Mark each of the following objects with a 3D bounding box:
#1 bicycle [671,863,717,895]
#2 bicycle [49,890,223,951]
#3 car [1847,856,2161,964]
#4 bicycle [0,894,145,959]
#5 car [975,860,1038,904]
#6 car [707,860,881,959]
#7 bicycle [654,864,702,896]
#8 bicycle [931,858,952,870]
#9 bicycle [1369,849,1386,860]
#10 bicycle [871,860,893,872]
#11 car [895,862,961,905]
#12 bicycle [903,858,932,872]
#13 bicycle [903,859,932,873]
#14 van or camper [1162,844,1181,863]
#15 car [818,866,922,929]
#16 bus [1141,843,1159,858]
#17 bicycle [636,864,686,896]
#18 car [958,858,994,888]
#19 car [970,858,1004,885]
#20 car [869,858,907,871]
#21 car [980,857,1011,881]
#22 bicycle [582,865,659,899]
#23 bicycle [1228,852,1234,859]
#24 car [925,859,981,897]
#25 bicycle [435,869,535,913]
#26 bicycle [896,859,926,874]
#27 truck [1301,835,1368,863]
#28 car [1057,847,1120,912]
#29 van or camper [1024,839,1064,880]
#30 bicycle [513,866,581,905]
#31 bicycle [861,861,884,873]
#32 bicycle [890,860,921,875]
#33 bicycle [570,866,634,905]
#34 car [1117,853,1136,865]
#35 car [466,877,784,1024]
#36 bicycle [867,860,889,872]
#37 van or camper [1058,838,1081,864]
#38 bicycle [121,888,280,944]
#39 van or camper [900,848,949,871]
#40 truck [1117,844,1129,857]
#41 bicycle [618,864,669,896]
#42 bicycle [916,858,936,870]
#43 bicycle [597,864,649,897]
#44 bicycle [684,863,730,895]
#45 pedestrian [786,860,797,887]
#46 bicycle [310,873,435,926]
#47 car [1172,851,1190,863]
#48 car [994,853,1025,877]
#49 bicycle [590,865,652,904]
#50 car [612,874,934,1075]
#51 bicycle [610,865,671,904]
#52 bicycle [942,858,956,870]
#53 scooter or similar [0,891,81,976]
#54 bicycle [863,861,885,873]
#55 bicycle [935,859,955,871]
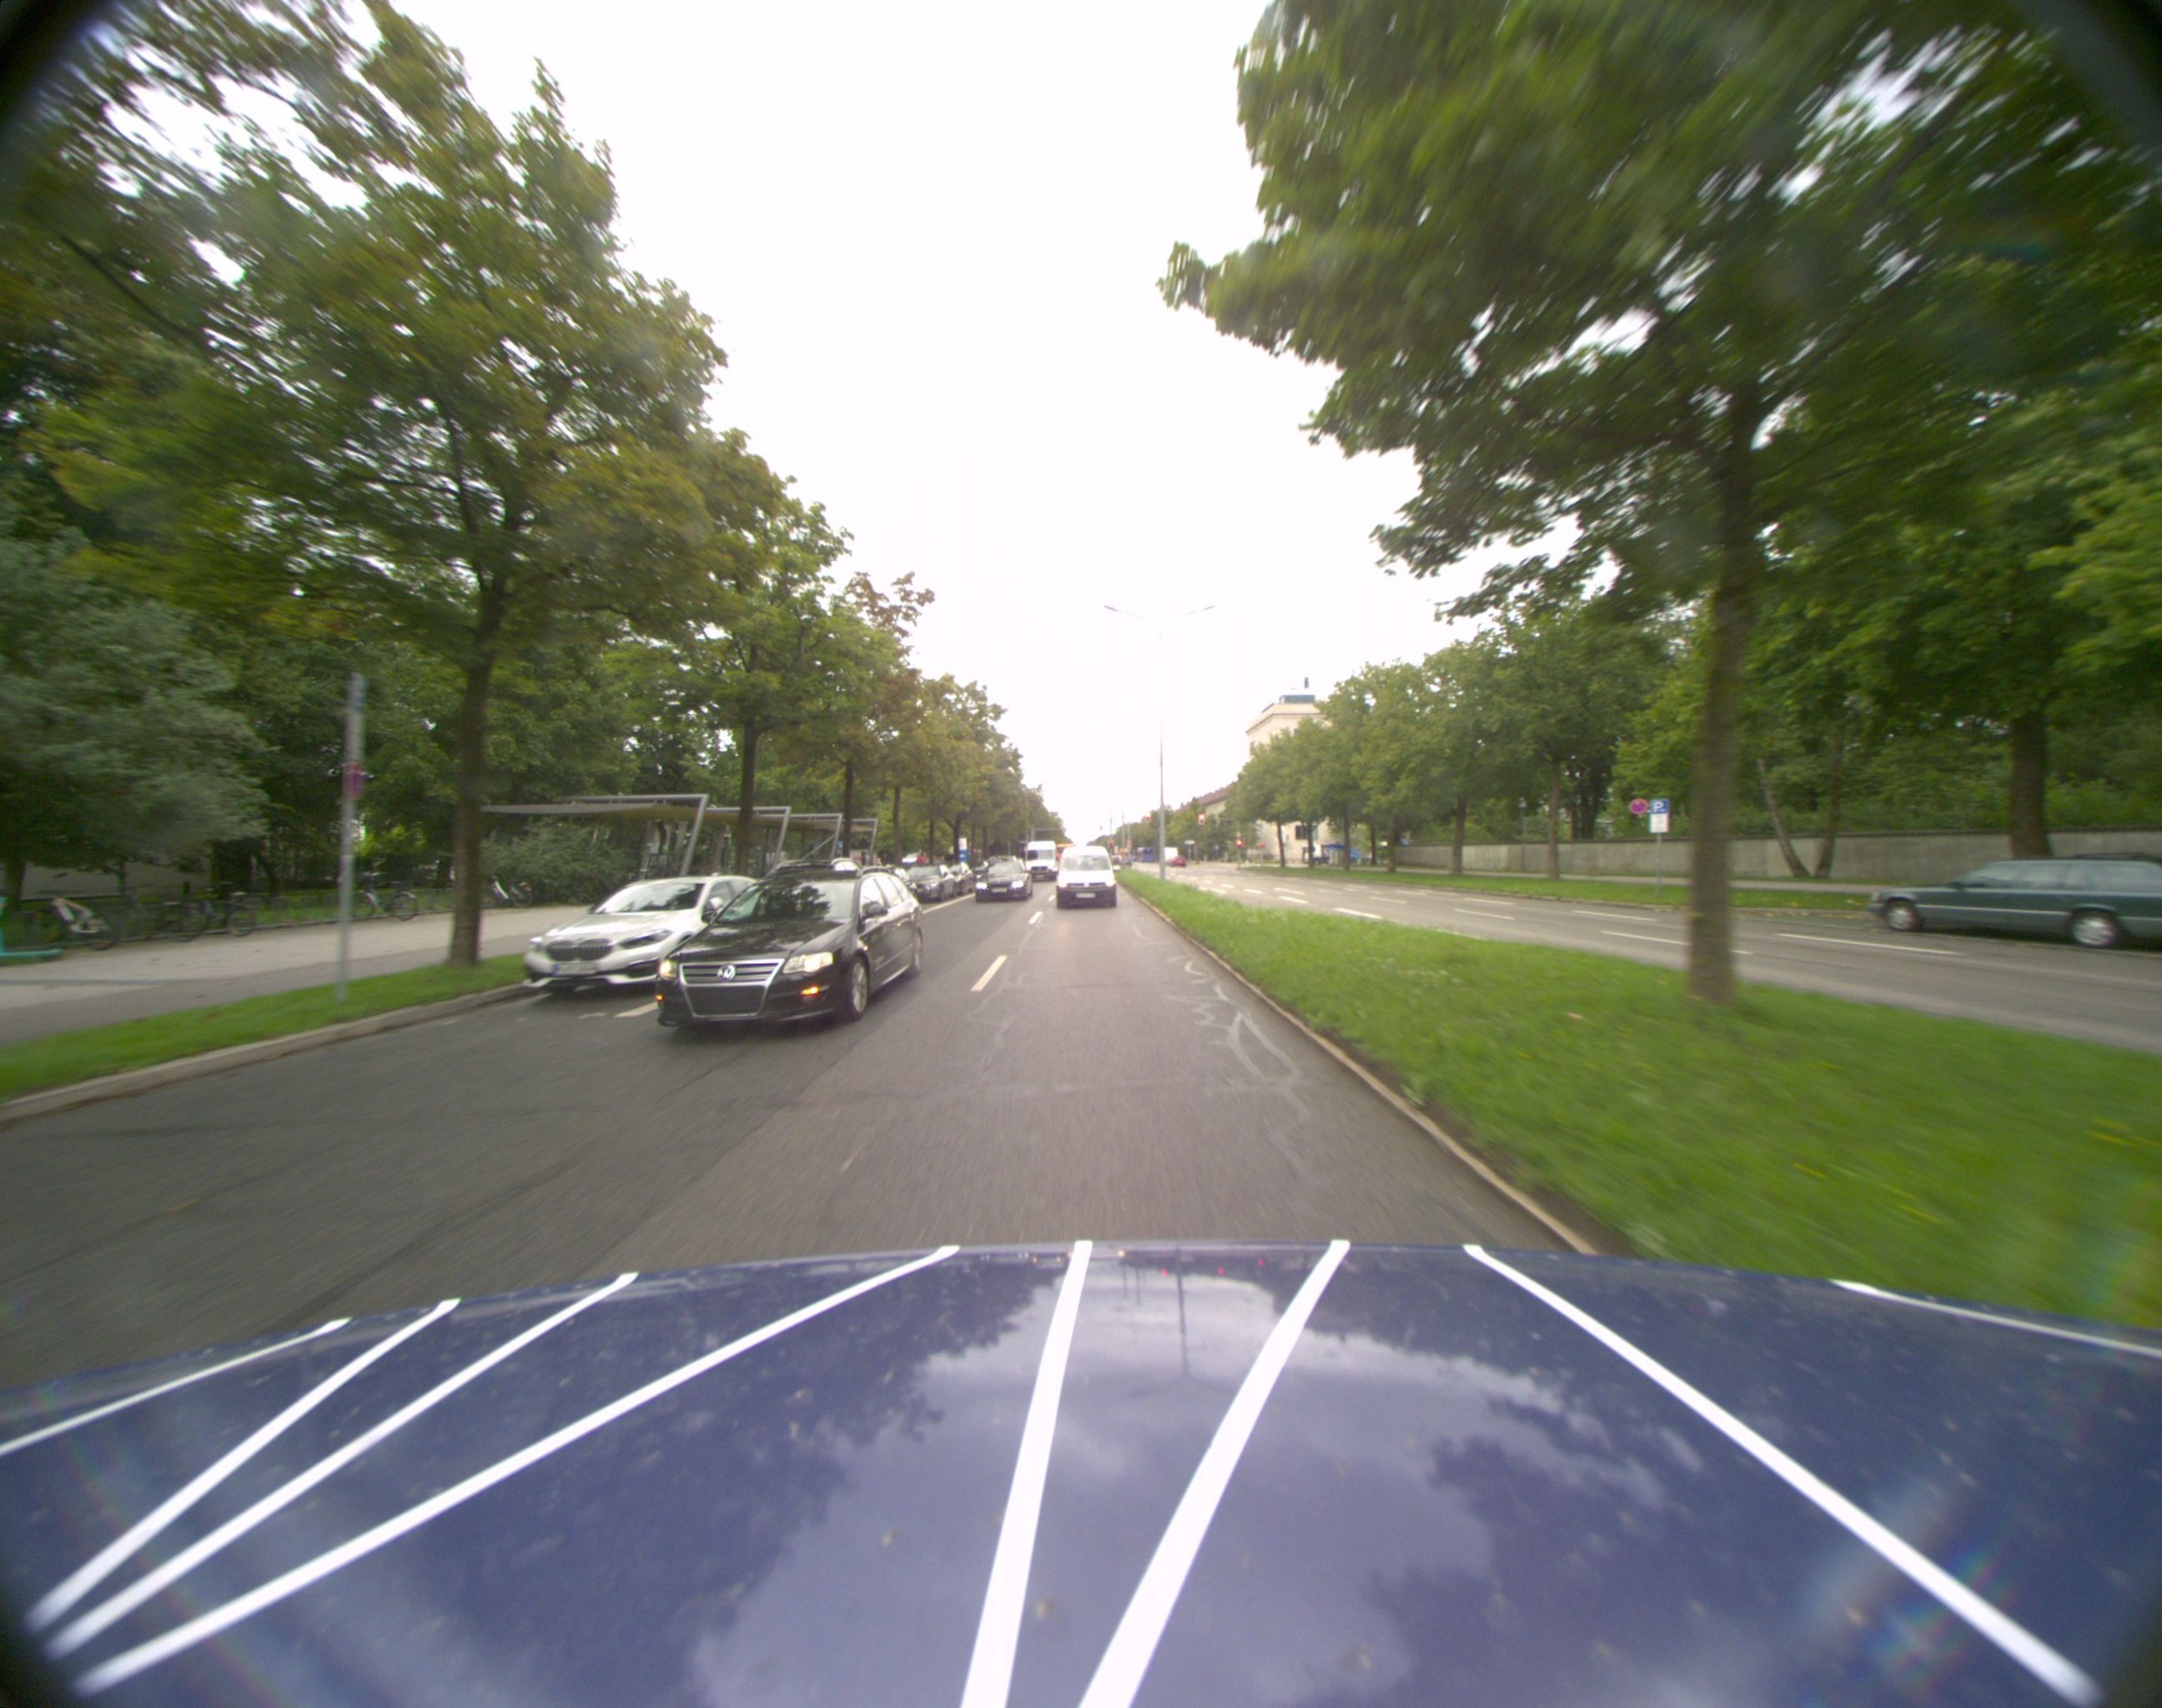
[{"bbox_3d":[-16.700,1.068,32.887,0.647,1.273,2.550,-1,0,1],"label":"bicycle"},{"bbox_3d":[-18.296,1.281,14.737,2.548,1.082,0.647,-1,1,1],"label":"bicycle"},{"bbox_3d":[16.654,0.817,13.164,1.804,1.481,4.915,-2,0,1],"label":"car"},{"bbox_3d":[-18.337,1.283,13.518,2.548,1.082,0.647,-1,1,1],"label":"bicycle"},{"bbox_3d":[-2.696,0.988,28.494,1.819,1.421,4.671,-1,0,1],"label":"car"},{"bbox_3d":[-5.655,0.992,15.669,1.791,1.665,4.595,-1,0,0],"label":"car"},{"bbox_3d":[-17.356,1.091,32.762,0.647,1.273,2.550,-1,0,1],"label":"bicycle"},{"bbox_3d":[-13.759,0.989,74.910,1.946,1.205,0.567,0,1,-11],"label":"bicycle"},{"bbox_3d":[32.386,0.089,82.986,0.837,1.179,2.496,-1,0,-1],"label":"bicycle"},{"bbox_3d":[-20.425,1.235,78.077,0.716,1.147,2.133,0,1,41],"label":"bicycle"},{"bbox_3d":[-5.745,1.059,28.994,1.638,1.445,4.078,-1,0,1],"label":"car"},{"bbox_3d":[-14.026,0.964,65.186,2.344,1.151,0.529,1,0,0],"label":"bicycle"},{"bbox_3d":[-14.139,0.997,65.738,2.344,1.151,0.529,1,0,0],"label":"bicycle"},{"bbox_3d":[13.228,-0.035,111.467,2.183,2.631,6.951,1,0,1],"label":"van or camper"},{"bbox_3d":[-5.654,1.099,20.863,1.637,1.430,4.304,-1,0,0],"label":"car"},{"bbox_3d":[15.806,-0.778,174.787,2.752,3.324,12.047,0,0,-1],"label":"bus"},{"bbox_3d":[-18.041,1.078,32.718,0.647,1.273,2.550,-1,0,1],"label":"bicycle"},{"bbox_3d":[-5.834,1.017,42.477,1.546,1.525,4.089,-2,0,-2],"label":"car"},{"bbox_3d":[-5.813,1.060,47.466,1.725,1.525,4.398,-1,0,-2],"label":"car"},{"bbox_3d":[-24.038,1.286,94.618,4.312,1.489,1.887,-1,0,-3],"label":"car"},{"bbox_3d":[-5.886,0.989,52.674,1.706,1.499,4.502,-3,0,-2],"label":"car"},{"bbox_3d":[-18.189,1.103,30.044,2.551,1.273,0.492,-1,1,-14],"label":"bicycle"},{"bbox_3d":[24.159,0.228,122.370,0.546,1.174,1.826,-1,0,0],"label":"bicycle"},{"bbox_3d":[-5.666,1.032,34.100,1.722,1.500,4.223,-1,0,1],"label":"car"},{"bbox_3d":[-18.476,1.141,23.574,2.548,1.273,0.647,-1,1,1],"label":"bicycle"},{"bbox_3d":[-14.018,1.053,62.691,2.346,1.151,0.529,1,0,-8],"label":"bicycle"},{"bbox_3d":[33.089,-0.705,99.374,7.817,3.468,2.772,-1,1,2],"label":"truck"},{"bbox_3d":[0.181,0.703,23.912,1.752,1.809,4.670,-1,0,-1],"label":"car"},{"bbox_3d":[-2.377,0.356,51.080,2.183,2.546,7.074,-1,0,1],"label":"van or camper"},{"bbox_3d":[-19.193,1.094,27.381,0.606,1.273,2.550,-1,0,1],"label":"bicycle"},{"bbox_3d":[-20.559,1.247,74.907,2.133,1.147,0.716,-1,1,-45],"label":"bicycle"},{"bbox_3d":[-14.268,1.065,61.780,2.344,1.151,0.529,1,0,0],"label":"bicycle"},{"bbox_3d":[-17.203,1.095,27.371,0.647,1.273,2.550,-1,0,1],"label":"bicycle"},{"bbox_3d":[5.887,0.611,98.987,1.645,1.478,3.777,-1,0,-10],"label":"car"},{"bbox_3d":[-5.834,1.116,10.509,1.657,1.426,4.482,-1,0,0],"label":"car"},{"bbox_3d":[-21.011,1.257,78.628,0.716,1.147,2.133,0,1,41],"label":"bicycle"},{"bbox_3d":[-1.468,-0.378,99.468,2.780,3.219,7.074,-1,0,1],"label":"van or camper"},{"bbox_3d":[-18.287,1.278,15.807,2.548,1.082,0.647,-1,1,1],"label":"bicycle"},{"bbox_3d":[-16.389,0.494,79.839,2.144,2.283,6.207,-1,0,18],"label":"van or camper"},{"bbox_3d":[11.195,-0.813,200.988,2.787,3.336,7.265,-1,0,0],"label":"truck"},{"bbox_3d":[-18.810,1.080,32.716,0.647,1.273,2.550,-1,0,1],"label":"bicycle"},{"bbox_3d":[-15.057,0.998,73.706,1.810,1.136,0.567,1,1,6],"label":"bicycle"},{"bbox_3d":[-19.563,1.111,32.528,0.647,1.273,2.550,-1,0,1],"label":"bicycle"},{"bbox_3d":[-16.031,1.045,32.667,0.647,1.273,2.550,-1,0,1],"label":"bicycle"},{"bbox_3d":[-17.040,1.142,44.727,0.580,1.504,0.693,-1,1,-18],"label":"pedestrian"},{"bbox_3d":[-18.047,1.157,19.387,2.548,1.273,0.647,-1,1,1],"label":"bicycle"},{"bbox_3d":[13.002,0.396,99.385,1.747,1.443,4.657,1,0,1],"label":"car"},{"bbox_3d":[-5.393,0.809,58.128,1.751,1.714,4.906,-2,0,1],"label":"car"},{"bbox_3d":[-16.525,1.068,27.385,0.647,1.273,2.550,-1,0,1],"label":"bicycle"},{"bbox_3d":[-2.987,1.052,8.600,1.752,1.466,4.670,-2,0,-1],"label":"car"},{"bbox_3d":[-15.805,1.056,27.349,0.647,1.273,2.550,-1,0,1],"label":"bicycle"},{"bbox_3d":[-13.515,0.978,77.762,0.863,1.191,2.000,1,0,5],"label":"bicycle"},{"bbox_3d":[-16.433,1.224,11.678,0.421,1.226,1.237,-1,1,3],"label":"scooter or similar"},{"bbox_3d":[-20.813,1.254,76.381,0.716,1.147,2.133,0,1,41],"label":"bicycle"},{"bbox_3d":[-13.082,1.022,73.108,1.809,1.136,0.568,1,1,10],"label":"bicycle"}]
